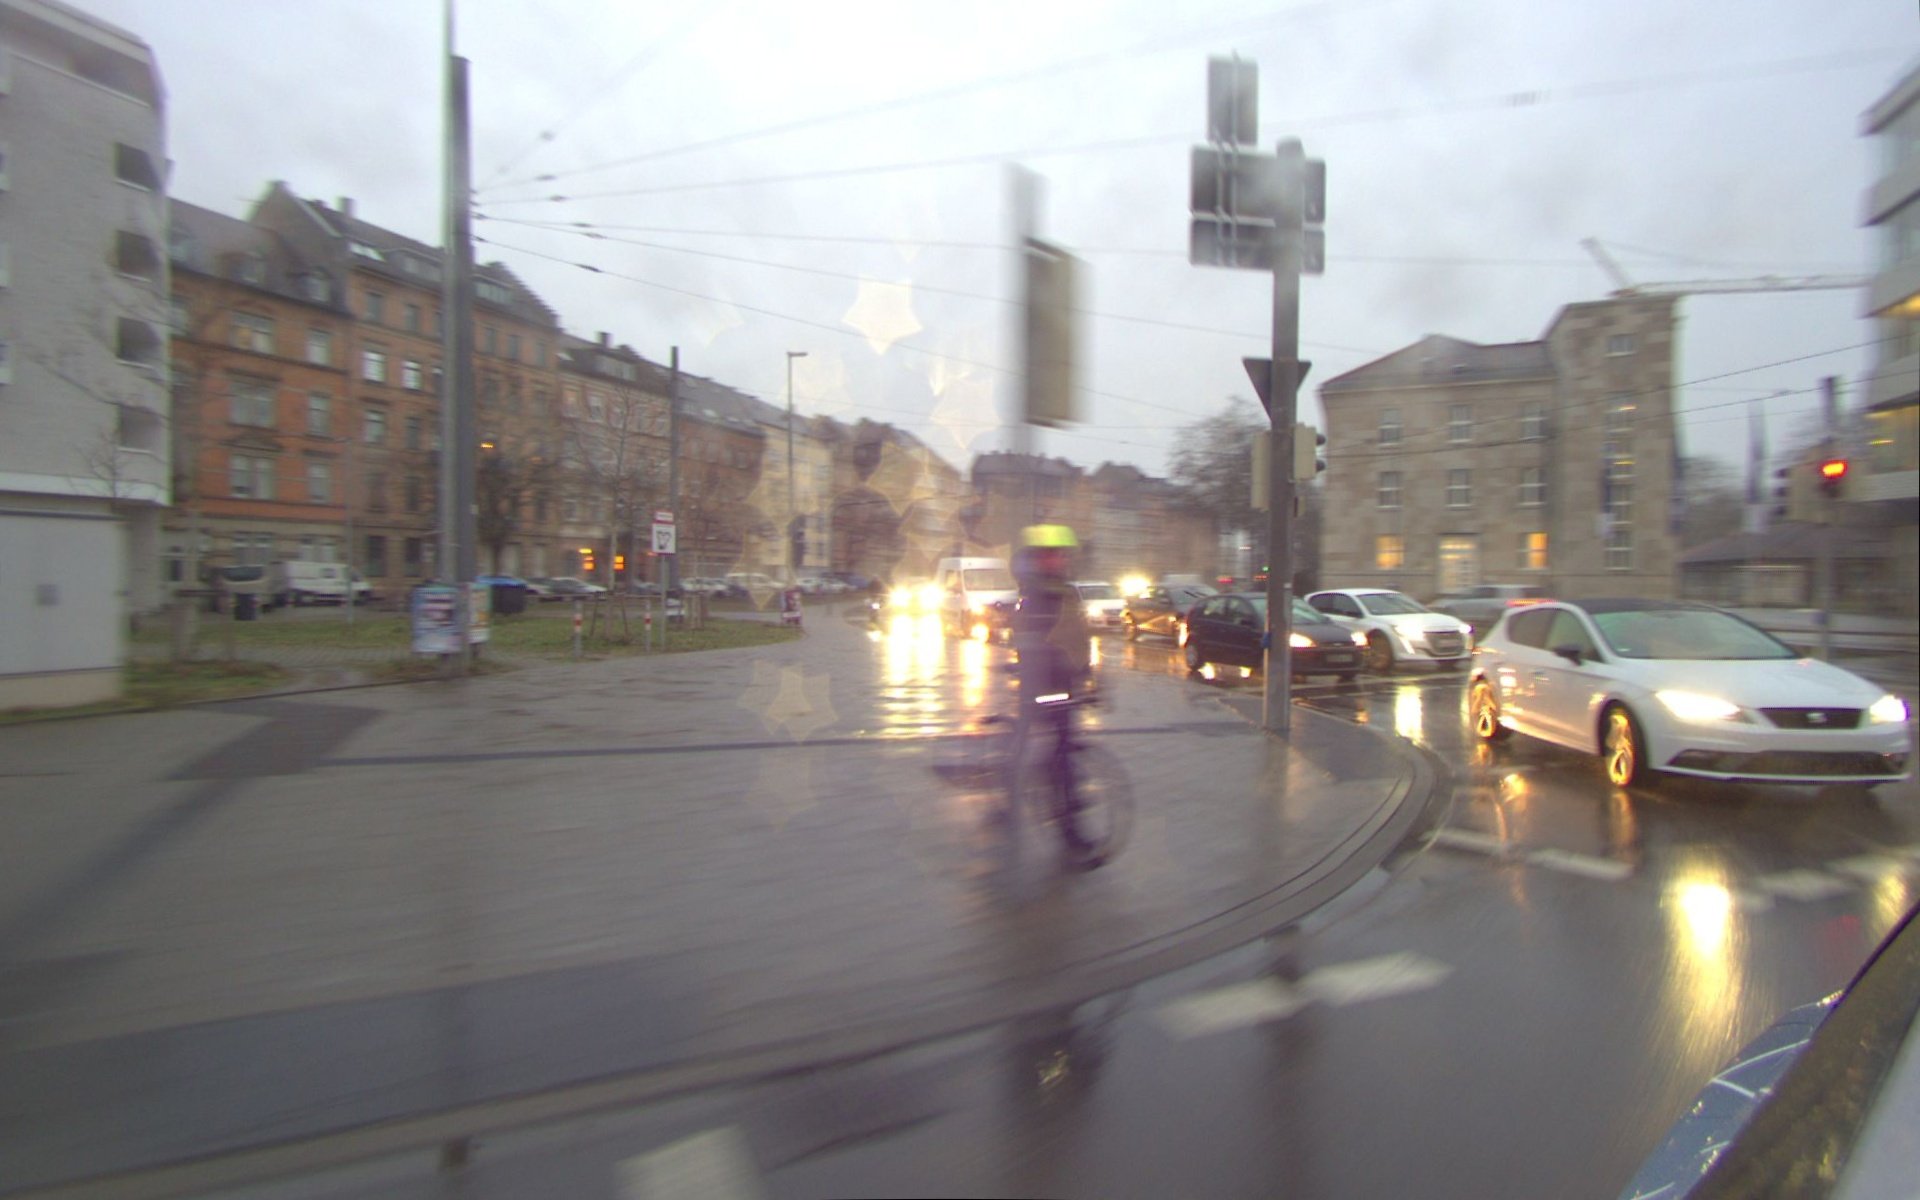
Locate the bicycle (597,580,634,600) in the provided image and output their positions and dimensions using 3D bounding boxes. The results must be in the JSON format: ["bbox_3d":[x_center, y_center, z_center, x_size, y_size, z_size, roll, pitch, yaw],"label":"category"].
[{"bbox_3d":[-19.022,-0.551,55.893,0.535,1.031,1.879,3,1,41],"label":"bicycle"}]

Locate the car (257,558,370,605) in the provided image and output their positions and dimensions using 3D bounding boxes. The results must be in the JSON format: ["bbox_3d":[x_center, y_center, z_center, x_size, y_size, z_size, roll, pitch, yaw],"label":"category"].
[{"bbox_3d":[-32.560,-0.943,51.119,1.975,2.216,4.632,0,1,19],"label":"car"}]

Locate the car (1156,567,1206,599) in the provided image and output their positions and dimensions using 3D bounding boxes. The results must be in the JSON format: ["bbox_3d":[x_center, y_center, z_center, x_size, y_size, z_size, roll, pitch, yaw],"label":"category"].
[{"bbox_3d":[13.750,-1.061,63.211,1.868,1.895,4.966,0,1,-2],"label":"car"}]

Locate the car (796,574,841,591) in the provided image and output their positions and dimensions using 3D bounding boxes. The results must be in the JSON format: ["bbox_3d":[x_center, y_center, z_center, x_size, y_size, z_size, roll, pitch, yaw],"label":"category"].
[{"bbox_3d":[-11.506,-1.413,82.382,3.543,1.387,1.619,0,1,-4],"label":"car"}]

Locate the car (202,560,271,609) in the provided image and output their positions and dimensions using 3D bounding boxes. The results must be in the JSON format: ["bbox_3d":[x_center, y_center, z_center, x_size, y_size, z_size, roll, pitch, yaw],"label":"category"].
[{"bbox_3d":[-30.439,-0.665,42.541,1.909,1.966,4.591,0,1,-41],"label":"car"}]

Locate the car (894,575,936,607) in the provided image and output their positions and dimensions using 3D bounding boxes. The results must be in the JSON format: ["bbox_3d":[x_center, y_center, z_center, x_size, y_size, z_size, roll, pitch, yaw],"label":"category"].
[{"bbox_3d":[-2.344,-0.486,51.960,1.864,1.619,4.012,0,1,-7],"label":"car"}]

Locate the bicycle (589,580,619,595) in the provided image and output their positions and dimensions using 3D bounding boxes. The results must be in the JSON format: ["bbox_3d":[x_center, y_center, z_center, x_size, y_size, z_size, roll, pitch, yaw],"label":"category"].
[{"bbox_3d":[-21.630,-0.760,61.497,1.770,0.787,0.444,3,1,16],"label":"bicycle"}]

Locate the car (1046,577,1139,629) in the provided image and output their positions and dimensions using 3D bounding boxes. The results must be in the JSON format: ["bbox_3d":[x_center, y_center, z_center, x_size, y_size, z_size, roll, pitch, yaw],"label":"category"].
[{"bbox_3d":[4.285,0.046,33.444,1.641,1.619,4.232,0,1,-14],"label":"car"}]

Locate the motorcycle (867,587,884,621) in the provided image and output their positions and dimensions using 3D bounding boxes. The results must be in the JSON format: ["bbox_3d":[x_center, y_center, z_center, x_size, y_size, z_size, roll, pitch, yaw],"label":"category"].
[{"bbox_3d":[-3.169,0.128,37.718,0.474,1.198,2.413,0,1,-8],"label":"motorcycle"}]

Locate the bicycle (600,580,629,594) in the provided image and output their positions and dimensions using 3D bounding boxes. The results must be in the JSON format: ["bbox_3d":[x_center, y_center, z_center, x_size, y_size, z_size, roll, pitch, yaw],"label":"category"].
[{"bbox_3d":[-21.380,-0.799,62.676,1.768,0.828,0.393,2,1,13],"label":"bicycle"}]

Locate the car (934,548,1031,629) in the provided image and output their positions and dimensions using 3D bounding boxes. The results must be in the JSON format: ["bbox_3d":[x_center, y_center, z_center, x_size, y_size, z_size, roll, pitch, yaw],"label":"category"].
[{"bbox_3d":[0.635,-0.442,34.266,2.197,2.493,5.680,-1,1,-10],"label":"car"}]

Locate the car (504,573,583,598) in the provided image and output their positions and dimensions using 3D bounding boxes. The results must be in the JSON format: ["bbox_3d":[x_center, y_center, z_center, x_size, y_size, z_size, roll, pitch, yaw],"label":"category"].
[{"bbox_3d":[-22.408,-0.791,54.552,3.612,1.322,1.745,0,1,-9],"label":"car"}]

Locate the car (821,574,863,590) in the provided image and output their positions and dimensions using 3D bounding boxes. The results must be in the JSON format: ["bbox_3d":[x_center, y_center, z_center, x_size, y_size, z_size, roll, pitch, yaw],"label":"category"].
[{"bbox_3d":[-10.200,-1.570,87.617,3.540,1.387,1.621,0,1,-10],"label":"car"}]

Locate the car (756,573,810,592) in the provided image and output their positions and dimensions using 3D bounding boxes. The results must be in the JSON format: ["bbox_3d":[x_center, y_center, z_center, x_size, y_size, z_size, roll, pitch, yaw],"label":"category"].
[{"bbox_3d":[-13.449,-1.340,76.952,3.886,1.463,1.703,0,1,-3],"label":"car"}]

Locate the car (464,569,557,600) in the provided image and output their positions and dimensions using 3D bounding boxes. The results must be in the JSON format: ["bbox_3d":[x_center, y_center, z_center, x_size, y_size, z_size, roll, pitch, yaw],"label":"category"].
[{"bbox_3d":[-23.107,-0.807,52.140,4.071,1.589,1.745,0,1,-9],"label":"car"}]

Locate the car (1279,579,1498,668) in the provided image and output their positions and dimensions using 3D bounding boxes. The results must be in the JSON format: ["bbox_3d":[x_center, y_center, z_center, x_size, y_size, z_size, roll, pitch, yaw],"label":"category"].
[{"bbox_3d":[8.099,0.366,19.526,1.727,1.481,3.926,-2,2,-17],"label":"car"}]

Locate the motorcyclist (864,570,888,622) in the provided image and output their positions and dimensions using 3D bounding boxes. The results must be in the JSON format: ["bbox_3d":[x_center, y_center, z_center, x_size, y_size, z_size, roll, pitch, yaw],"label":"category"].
[{"bbox_3d":[-3.147,-0.156,37.676,0.868,1.905,0.923,0,1,-6],"label":"motorcyclist"}]

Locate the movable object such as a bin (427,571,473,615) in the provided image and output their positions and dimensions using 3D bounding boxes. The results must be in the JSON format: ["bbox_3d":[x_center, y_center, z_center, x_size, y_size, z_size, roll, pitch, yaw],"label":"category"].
[{"bbox_3d":[-18.622,-0.265,36.945,1.043,1.595,1.130,1,1,27],"label":"movable object such as a bin"}]

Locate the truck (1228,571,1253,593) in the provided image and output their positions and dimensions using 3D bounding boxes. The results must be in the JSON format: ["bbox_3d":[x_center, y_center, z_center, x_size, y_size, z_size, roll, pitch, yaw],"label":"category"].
[{"bbox_3d":[27.634,-1.774,99.625,1.818,2.070,3.968,1,1,24],"label":"truck"}]

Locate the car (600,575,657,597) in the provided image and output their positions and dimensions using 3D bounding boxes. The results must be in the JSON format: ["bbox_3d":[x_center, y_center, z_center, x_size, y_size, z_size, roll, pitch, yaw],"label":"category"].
[{"bbox_3d":[-21.062,-0.895,64.417,3.234,1.322,1.523,0,1,-7],"label":"car"}]

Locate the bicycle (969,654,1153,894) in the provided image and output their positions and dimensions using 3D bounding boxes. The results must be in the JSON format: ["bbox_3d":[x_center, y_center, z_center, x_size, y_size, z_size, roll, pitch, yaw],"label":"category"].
[{"bbox_3d":[0.489,0.870,5.706,0.644,0.985,1.869,0,1,-6],"label":"bicycle"}]

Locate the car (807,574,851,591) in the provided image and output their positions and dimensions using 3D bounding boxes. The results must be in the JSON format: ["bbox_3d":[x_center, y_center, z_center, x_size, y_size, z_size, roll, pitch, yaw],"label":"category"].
[{"bbox_3d":[-10.965,-1.435,84.796,3.543,1.387,1.619,0,1,-4],"label":"car"}]

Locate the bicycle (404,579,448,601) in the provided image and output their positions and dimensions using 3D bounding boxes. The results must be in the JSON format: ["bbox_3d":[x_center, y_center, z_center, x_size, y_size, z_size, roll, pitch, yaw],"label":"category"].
[{"bbox_3d":[-24.795,-0.452,47.020,1.760,0.943,0.446,2,1,-2],"label":"bicycle"}]

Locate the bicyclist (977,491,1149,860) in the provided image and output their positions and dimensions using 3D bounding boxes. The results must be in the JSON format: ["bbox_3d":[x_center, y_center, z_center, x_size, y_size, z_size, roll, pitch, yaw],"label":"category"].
[{"bbox_3d":[0.548,0.381,5.774,0.777,1.914,0.990,0,1,-6],"label":"bicyclist"}]

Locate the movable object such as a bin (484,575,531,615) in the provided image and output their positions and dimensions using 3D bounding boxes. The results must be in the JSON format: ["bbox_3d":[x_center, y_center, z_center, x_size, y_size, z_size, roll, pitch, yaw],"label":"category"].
[{"bbox_3d":[-16.834,-0.195,37.641,1.043,1.450,1.214,1,1,27],"label":"movable object such as a bin"}]

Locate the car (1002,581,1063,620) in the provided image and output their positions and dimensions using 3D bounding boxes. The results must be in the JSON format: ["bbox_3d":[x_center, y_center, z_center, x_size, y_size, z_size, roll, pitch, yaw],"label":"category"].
[{"bbox_3d":[2.818,-0.018,39.934,1.656,1.448,3.353,-1,1,-9],"label":"car"}]

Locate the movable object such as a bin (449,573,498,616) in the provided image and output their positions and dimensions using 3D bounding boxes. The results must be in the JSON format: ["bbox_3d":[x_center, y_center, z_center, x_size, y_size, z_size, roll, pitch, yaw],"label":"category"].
[{"bbox_3d":[-17.411,-0.211,36.235,1.043,1.529,1.241,1,1,27],"label":"movable object such as a bin"}]

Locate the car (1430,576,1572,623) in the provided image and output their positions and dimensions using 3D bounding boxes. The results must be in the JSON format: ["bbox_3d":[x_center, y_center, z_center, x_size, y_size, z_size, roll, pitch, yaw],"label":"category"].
[{"bbox_3d":[18.562,-0.059,34.960,1.827,1.504,4.351,0,1,-15],"label":"car"}]

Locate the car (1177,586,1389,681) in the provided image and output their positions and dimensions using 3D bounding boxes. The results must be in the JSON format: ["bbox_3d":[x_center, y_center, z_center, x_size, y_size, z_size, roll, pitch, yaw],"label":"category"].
[{"bbox_3d":[5.468,0.489,17.646,1.688,1.405,3.830,-1,2,-16],"label":"car"}]

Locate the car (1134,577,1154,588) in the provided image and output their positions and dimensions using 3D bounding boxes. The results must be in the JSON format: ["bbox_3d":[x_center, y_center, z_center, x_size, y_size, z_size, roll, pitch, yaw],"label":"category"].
[{"bbox_3d":[24.076,-2.338,132.338,1.733,1.387,3.587,1,1,23],"label":"car"}]

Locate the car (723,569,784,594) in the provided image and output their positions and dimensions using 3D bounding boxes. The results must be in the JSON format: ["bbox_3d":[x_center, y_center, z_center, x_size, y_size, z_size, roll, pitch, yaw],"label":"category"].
[{"bbox_3d":[-15.103,-1.353,74.194,4.256,1.790,1.784,0,1,-8],"label":"car"}]

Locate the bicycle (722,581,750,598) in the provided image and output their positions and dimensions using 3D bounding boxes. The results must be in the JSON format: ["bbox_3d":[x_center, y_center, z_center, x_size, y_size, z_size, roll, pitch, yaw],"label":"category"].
[{"bbox_3d":[-14.097,-0.664,63.665,1.774,0.943,0.443,3,1,21],"label":"bicycle"}]

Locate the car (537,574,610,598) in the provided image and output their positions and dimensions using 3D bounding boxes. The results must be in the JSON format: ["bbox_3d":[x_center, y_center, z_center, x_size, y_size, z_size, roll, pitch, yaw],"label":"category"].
[{"bbox_3d":[-21.716,-0.783,56.958,3.612,1.322,1.671,0,1,-9],"label":"car"}]

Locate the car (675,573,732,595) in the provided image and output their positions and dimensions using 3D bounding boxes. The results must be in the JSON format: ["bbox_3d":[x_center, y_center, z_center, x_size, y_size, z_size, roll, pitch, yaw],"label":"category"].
[{"bbox_3d":[-17.392,-1.082,68.720,3.613,1.417,1.523,0,1,-7],"label":"car"}]

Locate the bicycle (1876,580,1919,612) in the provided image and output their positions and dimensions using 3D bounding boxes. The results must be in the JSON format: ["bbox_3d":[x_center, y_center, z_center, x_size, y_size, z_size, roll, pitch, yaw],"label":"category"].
[{"bbox_3d":[34.815,-0.153,37.286,1.481,1.141,0.524,1,1,25],"label":"bicycle"}]

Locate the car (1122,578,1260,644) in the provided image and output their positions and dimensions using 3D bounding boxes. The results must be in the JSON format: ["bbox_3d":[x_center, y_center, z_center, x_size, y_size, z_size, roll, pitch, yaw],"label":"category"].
[{"bbox_3d":[6.004,0.213,26.864,1.788,1.589,4.371,0,1,-14],"label":"car"}]

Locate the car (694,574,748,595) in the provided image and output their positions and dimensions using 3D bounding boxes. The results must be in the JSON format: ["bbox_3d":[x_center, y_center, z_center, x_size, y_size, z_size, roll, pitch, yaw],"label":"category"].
[{"bbox_3d":[-16.843,-1.093,71.397,3.613,1.455,1.523,0,1,-7],"label":"car"}]

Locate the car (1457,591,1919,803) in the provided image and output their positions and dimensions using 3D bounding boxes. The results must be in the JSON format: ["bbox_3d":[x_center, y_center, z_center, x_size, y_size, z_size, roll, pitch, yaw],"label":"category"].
[{"bbox_3d":[6.083,0.645,8.865,1.758,1.396,4.215,-1,0,7],"label":"car"}]

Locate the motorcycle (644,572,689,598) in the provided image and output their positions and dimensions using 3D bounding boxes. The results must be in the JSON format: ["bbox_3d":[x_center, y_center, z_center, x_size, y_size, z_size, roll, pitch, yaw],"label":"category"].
[{"bbox_3d":[-17.228,-0.870,59.405,2.317,1.362,0.883,3,2,6],"label":"motorcycle"}]
